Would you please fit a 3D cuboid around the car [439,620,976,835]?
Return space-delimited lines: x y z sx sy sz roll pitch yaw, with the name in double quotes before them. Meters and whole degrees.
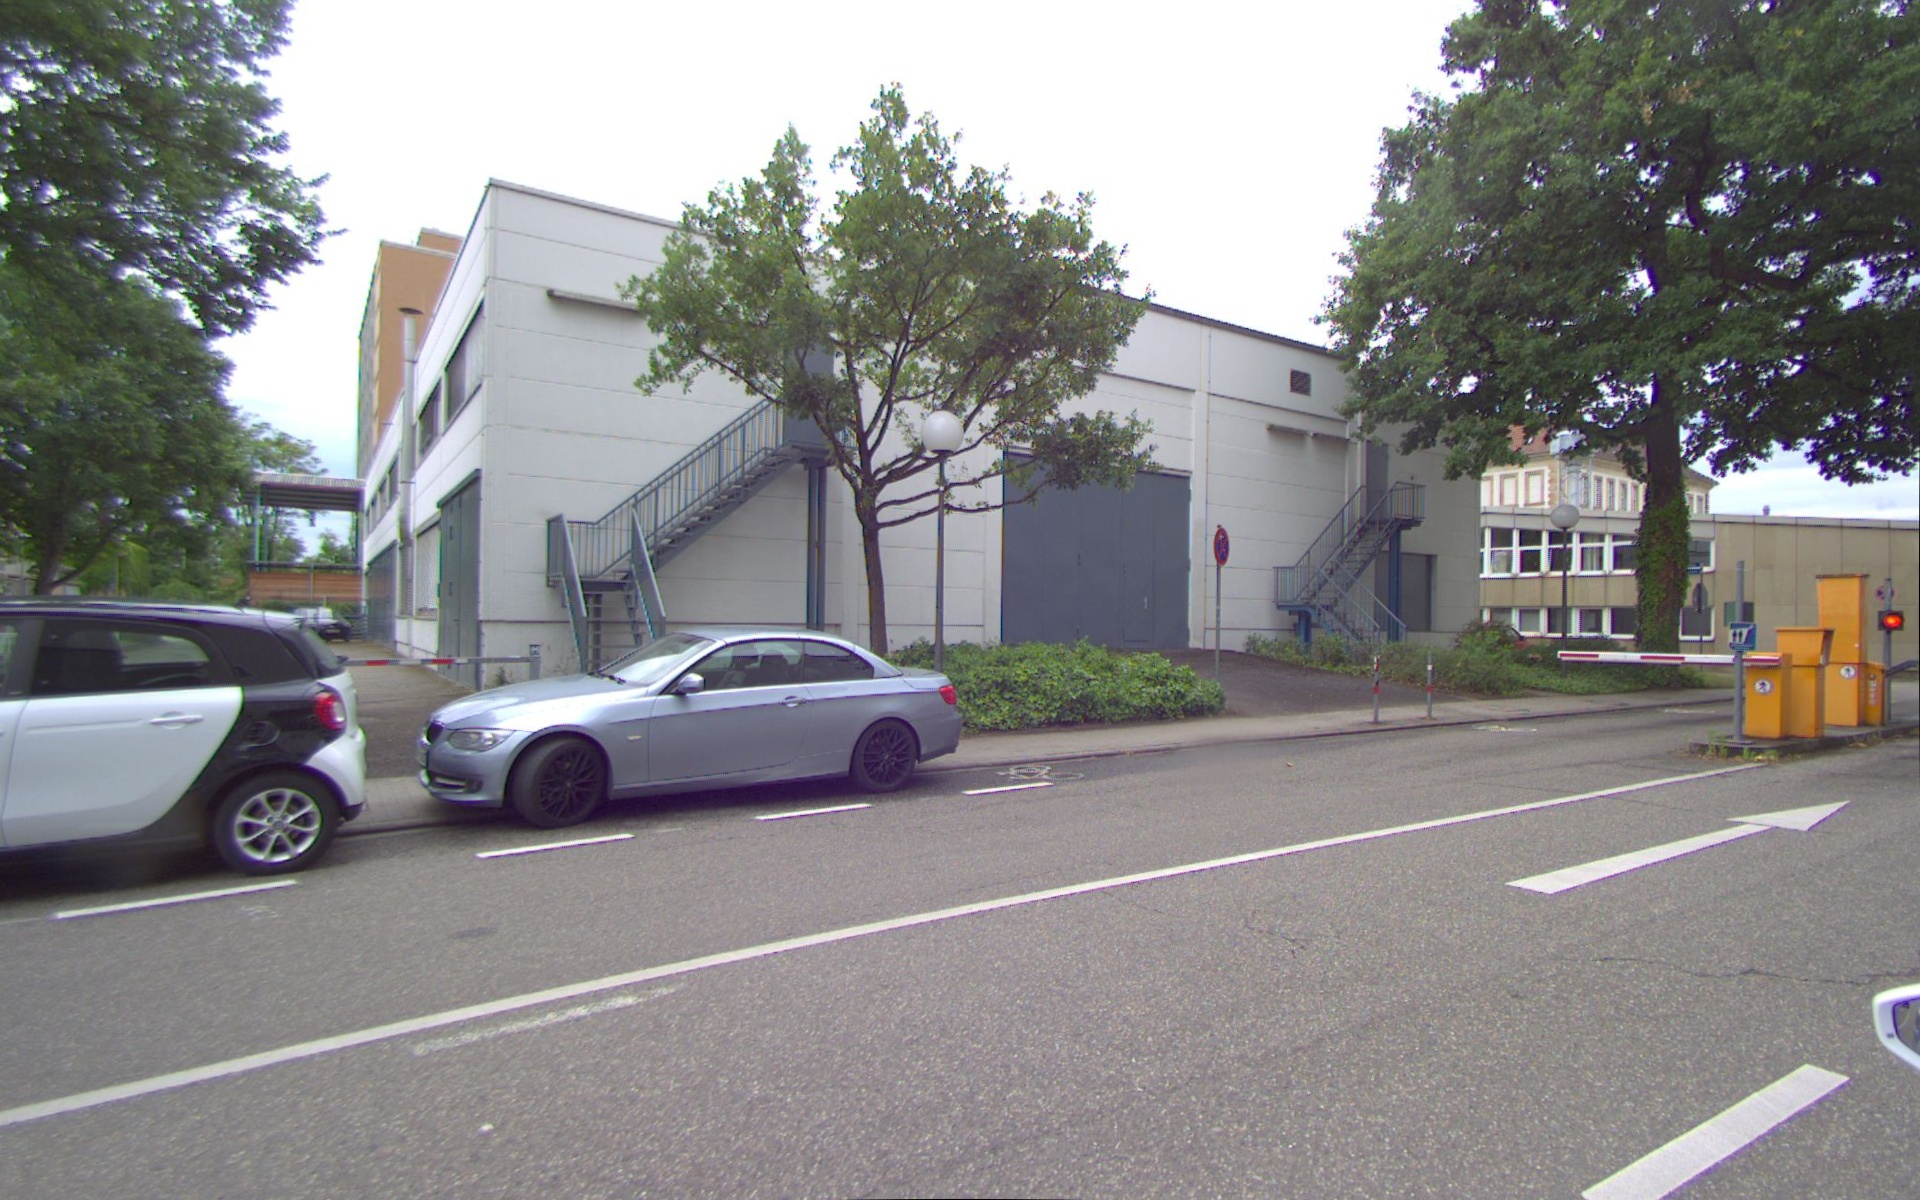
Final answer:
"car" -2.056 0.911 8.707 4.154 1.407 1.805 1 0 -36

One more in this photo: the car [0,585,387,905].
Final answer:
"car" -5.484 0.725 5.625 3.838 1.607 1.705 1 0 -35

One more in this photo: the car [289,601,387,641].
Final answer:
"car" -24.783 0.820 39.992 3.703 1.550 1.874 0 -1 32

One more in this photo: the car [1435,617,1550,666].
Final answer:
"car" 18.197 1.397 34.313 3.959 1.550 1.851 1 -1 -34
